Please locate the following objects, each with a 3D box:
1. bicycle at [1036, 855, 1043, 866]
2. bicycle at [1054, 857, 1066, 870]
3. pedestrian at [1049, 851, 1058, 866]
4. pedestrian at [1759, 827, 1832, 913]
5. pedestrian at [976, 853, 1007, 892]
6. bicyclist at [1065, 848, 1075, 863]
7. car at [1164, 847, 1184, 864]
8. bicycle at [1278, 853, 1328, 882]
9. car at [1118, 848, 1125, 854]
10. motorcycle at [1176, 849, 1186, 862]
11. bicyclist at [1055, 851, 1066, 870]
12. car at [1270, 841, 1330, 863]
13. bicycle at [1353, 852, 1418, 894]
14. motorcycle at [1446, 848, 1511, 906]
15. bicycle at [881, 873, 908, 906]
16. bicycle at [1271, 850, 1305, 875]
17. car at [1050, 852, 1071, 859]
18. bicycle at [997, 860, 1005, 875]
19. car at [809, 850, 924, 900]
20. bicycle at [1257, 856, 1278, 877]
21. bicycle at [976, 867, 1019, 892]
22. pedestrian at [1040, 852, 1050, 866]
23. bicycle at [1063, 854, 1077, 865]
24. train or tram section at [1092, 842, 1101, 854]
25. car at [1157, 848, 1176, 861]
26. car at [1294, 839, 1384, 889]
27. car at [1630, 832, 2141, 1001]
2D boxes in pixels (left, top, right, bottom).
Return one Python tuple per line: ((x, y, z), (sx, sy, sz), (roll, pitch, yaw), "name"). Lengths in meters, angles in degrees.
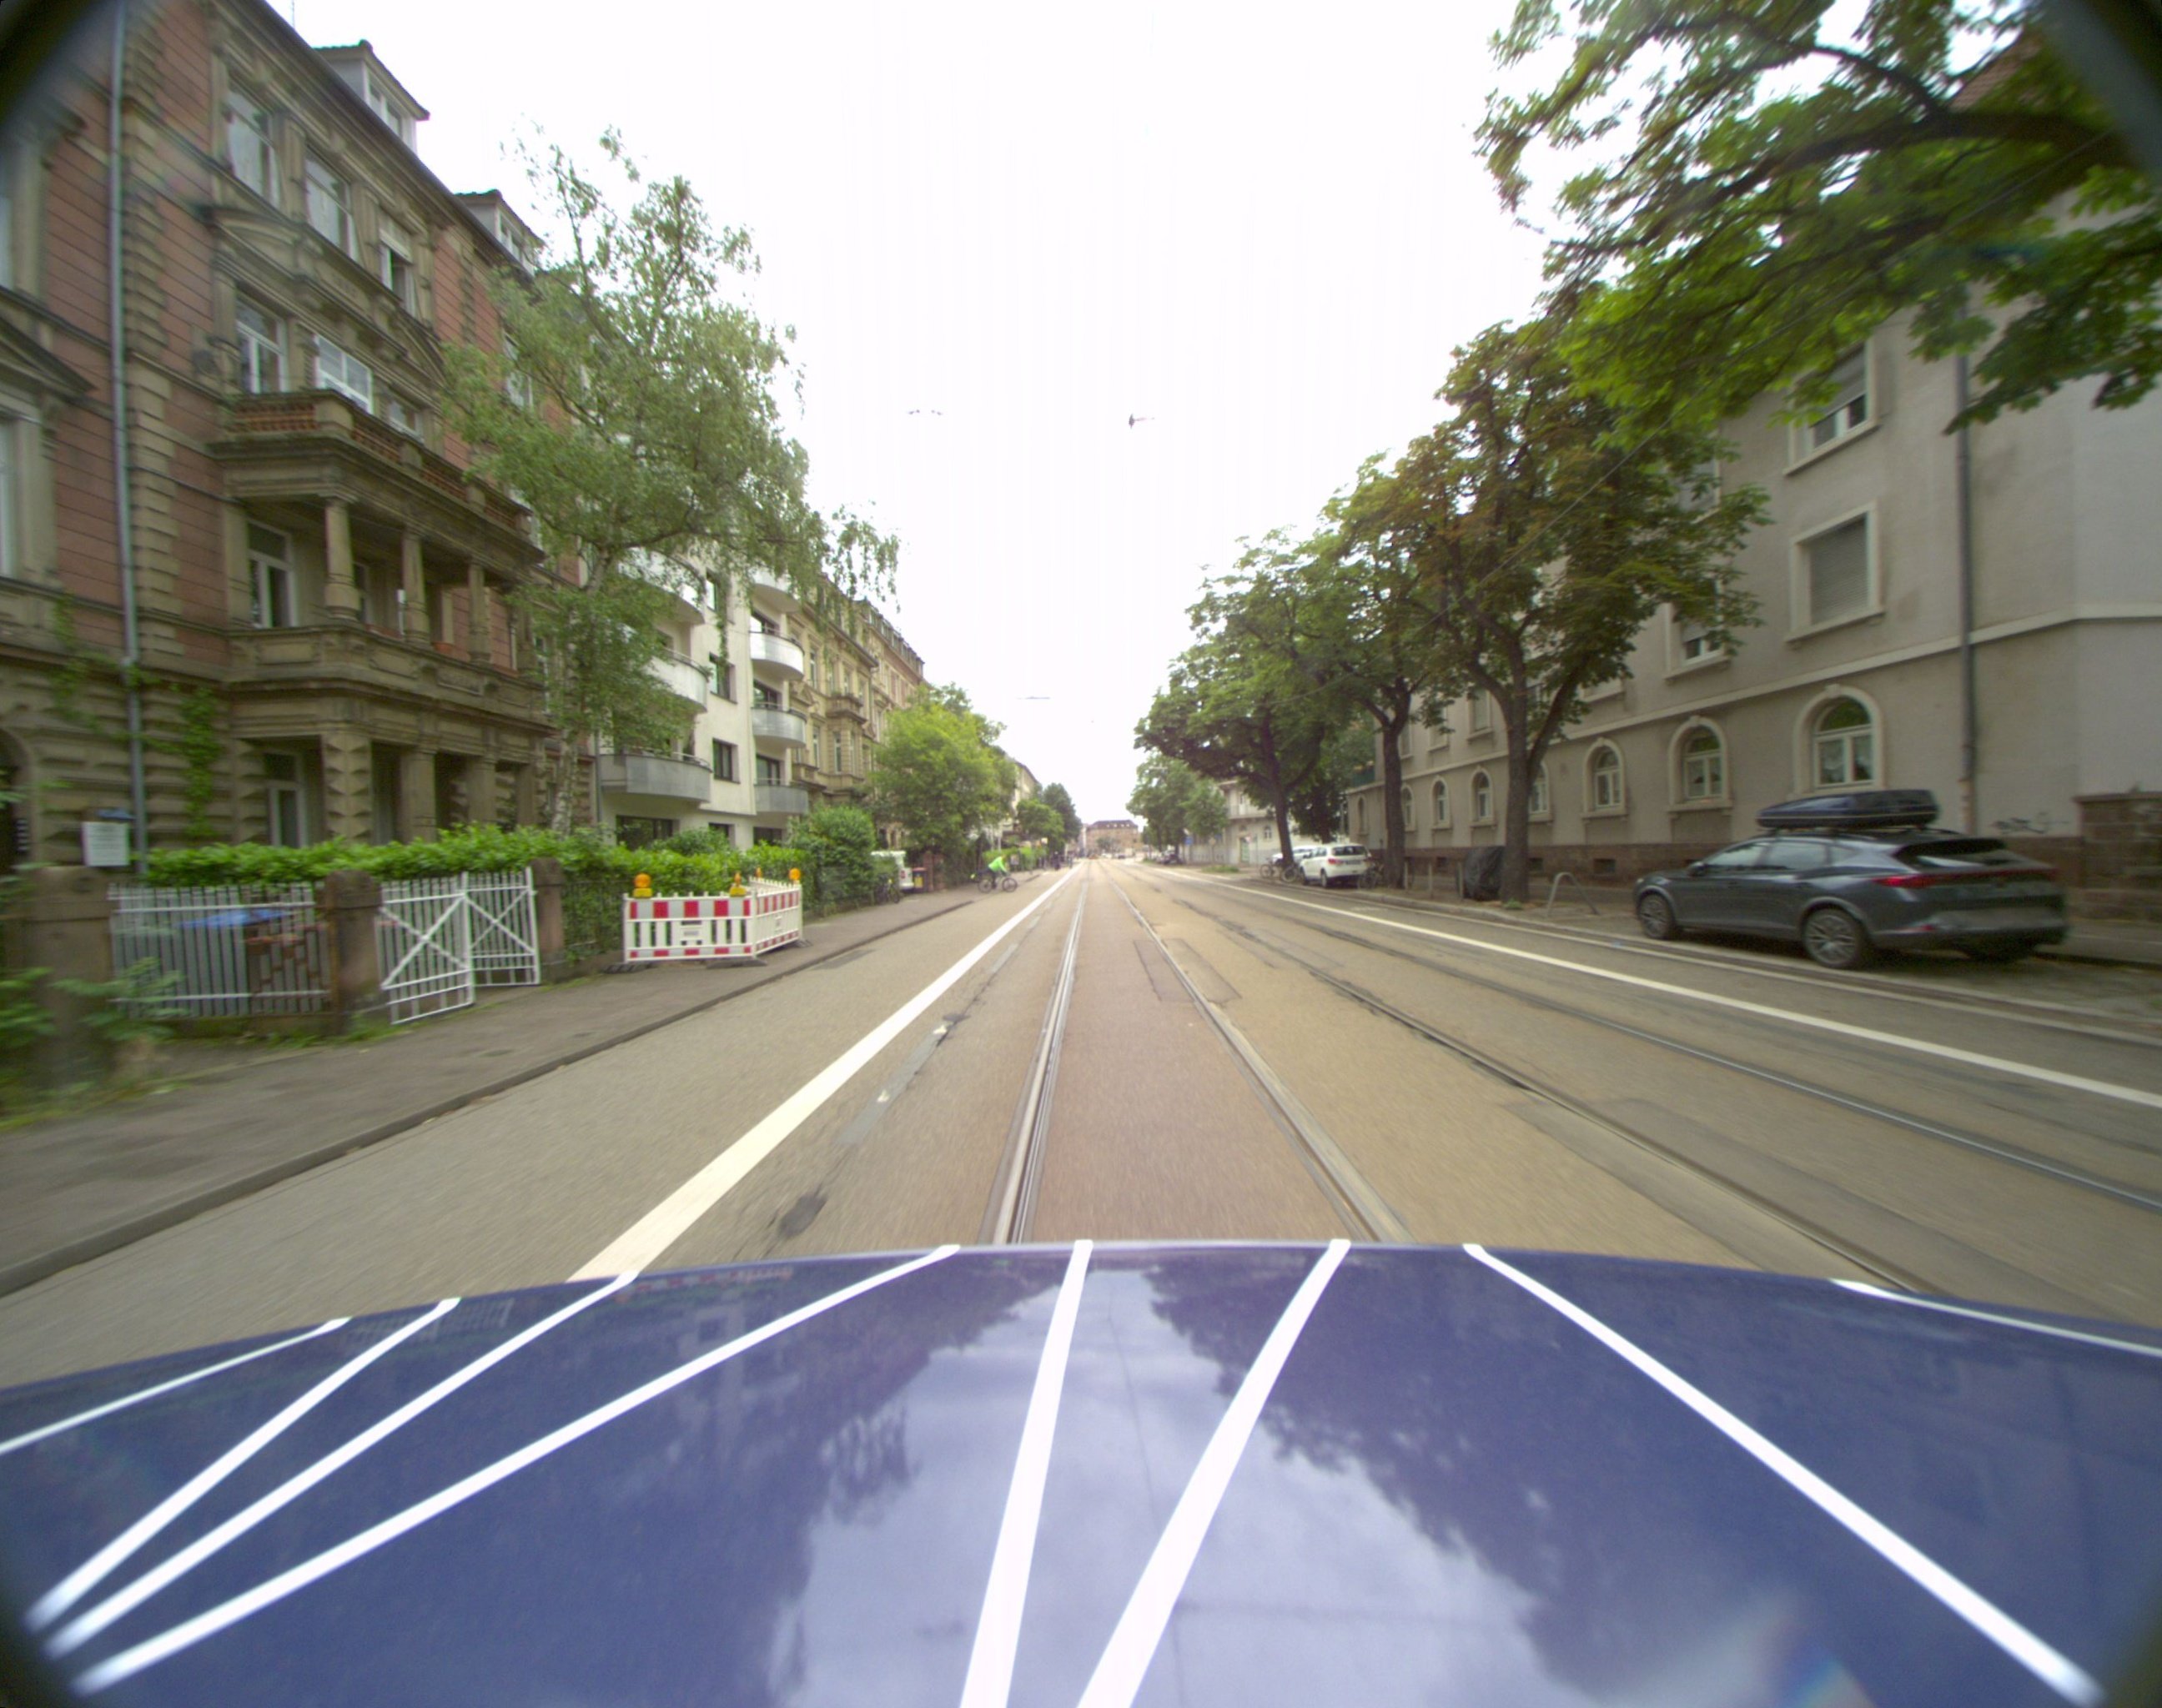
((-4.618, 0.731, 84.938), (0.634, 1.121, 1.812), (0, 0, 1), "bicycle")
((-2.121, 0.932, 76.963), (0.852, 1.234, 2.310), (-3, 1, 6), "bicycle")
((-3.117, 0.517, 86.765), (0.875, 1.646, 0.908), (-3, 1, -7), "pedestrian")
((12.485, 0.271, 13.289), (0.566, 1.459, 0.722), (-2, 1, 1), "pedestrian")
((-4.041, 0.832, 34.397), (1.232, 1.723, 1.018), (1, 1, 0), "pedestrian")
((-1.200, 0.164, 85.460), (0.774, 1.681, 0.870), (-2, 1, 26), "bicyclist")
((10.598, 0.172, 86.709), (1.842, 1.651, 4.294), (-5, 0, 2), "car")
((9.589, 0.571, 32.808), (1.927, 1.114, 0.624), (-4, 1, 1), "bicycle")
((10.528, -0.715, 198.922), (1.733, 1.400, 3.655), (-2, 0, 1), "car")
((10.486, 0.151, 79.572), (0.541, 1.250, 2.141), (-2, 1, -5), "motorcycle")
((-2.091, 0.691, 77.096), (0.881, 1.811, 1.479), (-3, -1, 6), "bicyclist")
((18.496, -0.139, 64.151), (4.505, 1.653, 1.942), (-2, 0, 26), "car")
((9.431, 0.597, 23.608), (1.746, 1.184, 0.654), (-4, -5, 15), "bicycle")
((9.730, 0.526, 18.685), (0.865, 1.280, 2.324), (-3, 0, 14), "motorcycle")
((-6.269, 1.186, 25.619), (0.480, 1.039, 1.531), (-2, 0, 1), "bicycle")
((10.120, 0.427, 37.199), (0.677, 1.129, 1.934), (-2, -1, -15), "bicycle")
((-4.633, 0.306, 172.212), (4.330, 1.542, 1.747), (-2, 0, -22), "car")
((-5.774, 0.996, 54.911), (0.302, 1.035, 1.848), (-2, 0, 1), "bicycle")
((-8.527, 0.804, 30.442), (3.996, 1.847, 1.809), (-1, 1, 1), "car")
((9.194, 0.610, 37.491), (0.485, 0.952, 1.397), (-2, 0, -7), "bicycle")
((-3.740, 1.155, 34.276), (1.845, 1.069, 0.606), (1, 1, 0), "bicycle")
((-4.159, 0.587, 87.878), (0.794, 1.627, 0.837), (-1, 2, 17), "pedestrian")
((-1.221, 0.588, 85.489), (0.774, 1.205, 1.872), (-2, 0, 26), "bicycle")
((4.740, -1.852, 234.091), (2.631, 3.659, 5.984), (-3, 0, -1), "train or tram section")
((10.661, 0.093, 94.829), (1.816, 1.457, 4.614), (-3, 0, 0), "car")
((9.562, 0.349, 28.530), (1.902, 1.646, 4.225), (-3, 0, 0), "car")
((9.094, 0.581, 9.266), (1.781, 1.502, 4.238), (-3, 0, 2), "car")
